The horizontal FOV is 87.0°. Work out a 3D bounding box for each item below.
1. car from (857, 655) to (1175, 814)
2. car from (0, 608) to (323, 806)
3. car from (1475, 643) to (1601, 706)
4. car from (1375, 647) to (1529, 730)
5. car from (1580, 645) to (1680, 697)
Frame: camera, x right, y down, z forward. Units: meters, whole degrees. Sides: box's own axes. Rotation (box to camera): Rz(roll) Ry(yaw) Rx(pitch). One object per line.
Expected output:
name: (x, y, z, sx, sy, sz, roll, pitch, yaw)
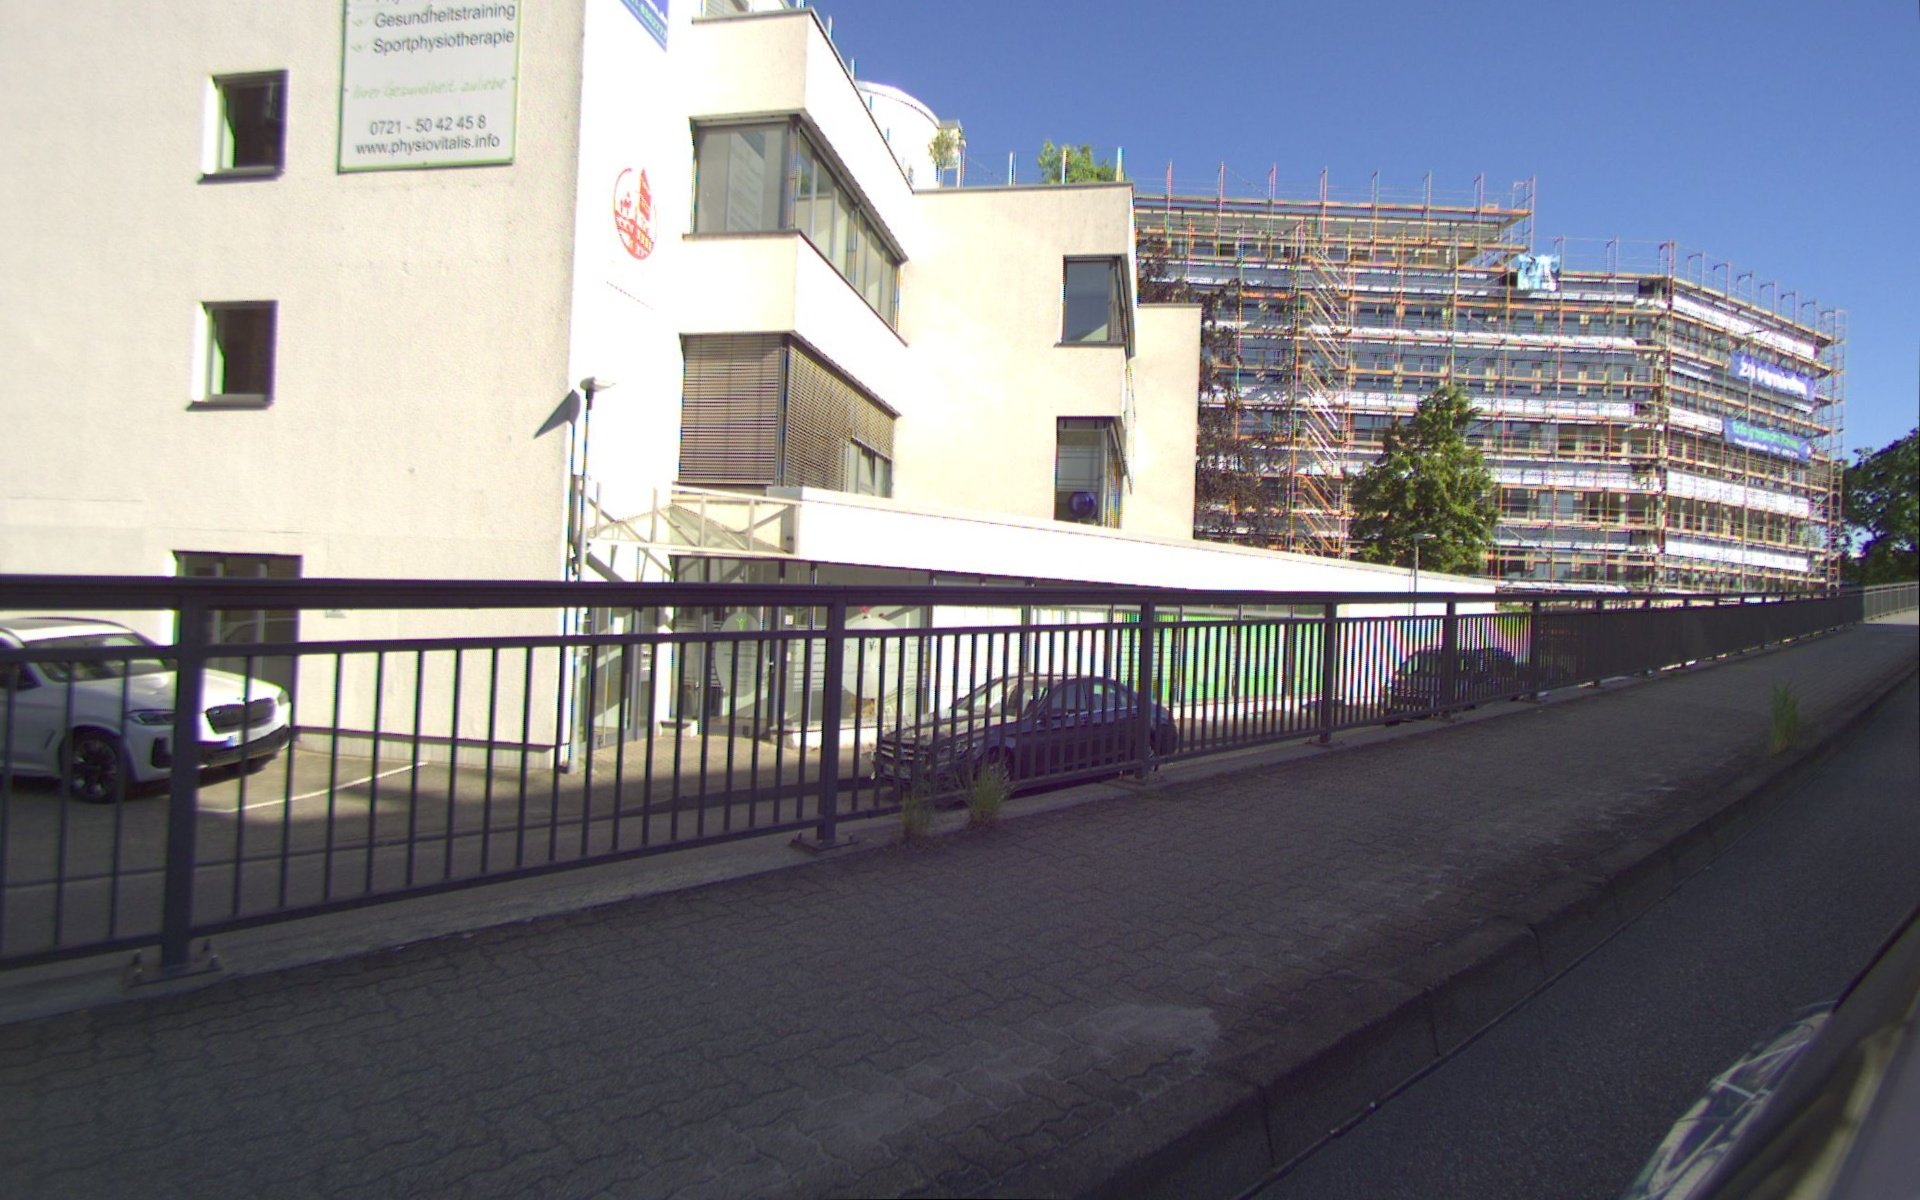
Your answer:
car: (0.815, 1.546, 12.807, 3.929, 1.541, 1.724, 1, -1, -41)
car: (-9.541, 1.021, 10.841, 4.455, 1.707, 1.840, 2, 0, 9)
car: (14.986, 1.867, 26.157, 3.931, 1.410, 1.723, 1, -1, -42)
car: (10.865, 1.861, 22.227, 3.931, 1.541, 1.723, 1, -1, -42)
car: (21.093, 2.173, 31.797, 3.931, 1.410, 1.723, 1, -1, -42)
